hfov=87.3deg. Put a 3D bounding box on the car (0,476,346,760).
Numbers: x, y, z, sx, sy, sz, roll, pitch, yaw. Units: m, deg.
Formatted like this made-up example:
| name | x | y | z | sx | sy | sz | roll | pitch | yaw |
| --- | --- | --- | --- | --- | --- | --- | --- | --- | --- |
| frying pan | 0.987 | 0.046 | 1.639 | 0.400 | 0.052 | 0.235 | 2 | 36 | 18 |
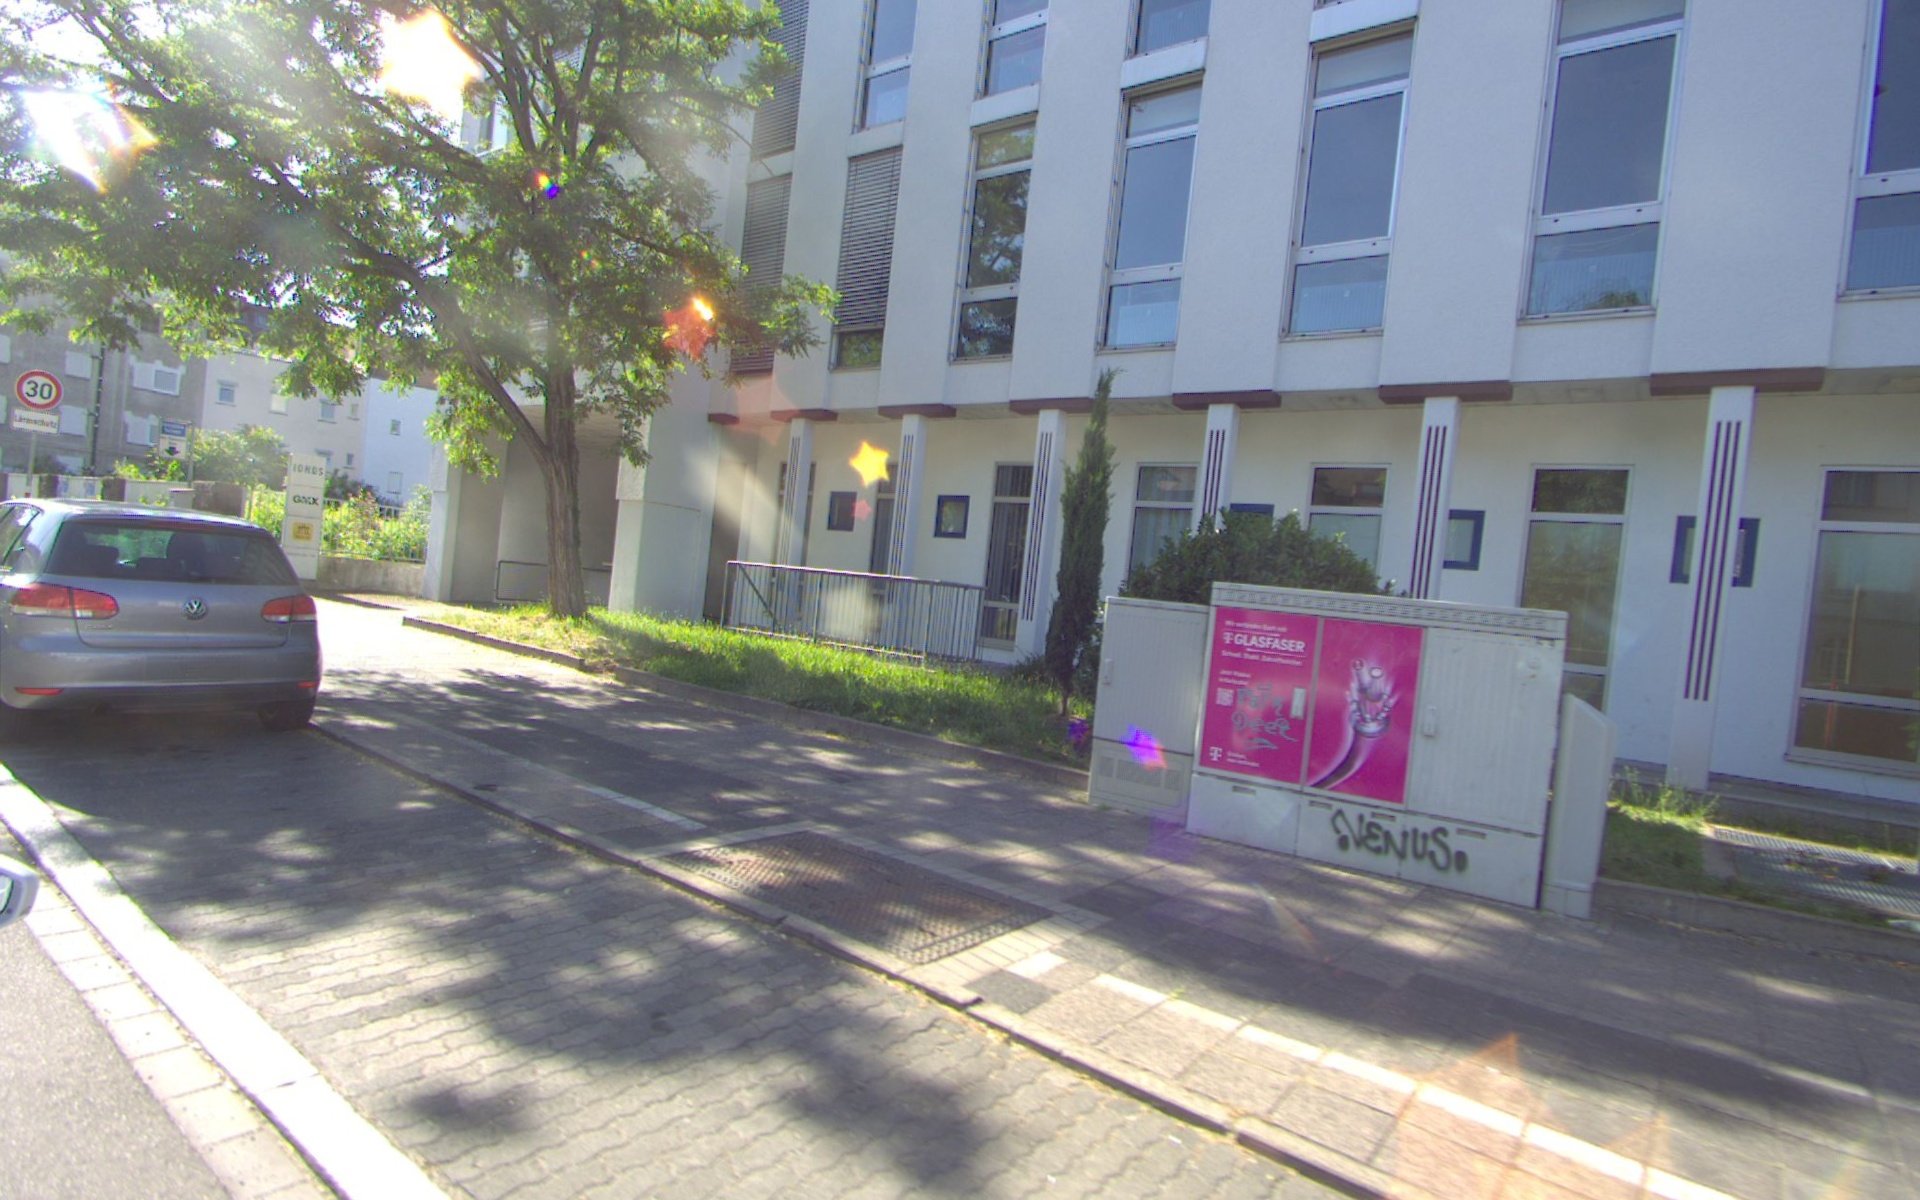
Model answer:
| name | x | y | z | sx | sy | sz | roll | pitch | yaw |
| --- | --- | --- | --- | --- | --- | --- | --- | --- | --- |
| car | -6.250 | -0.039 | 7.321 | 4.093 | 1.467 | 1.636 | 8 | 2 | 38 |
